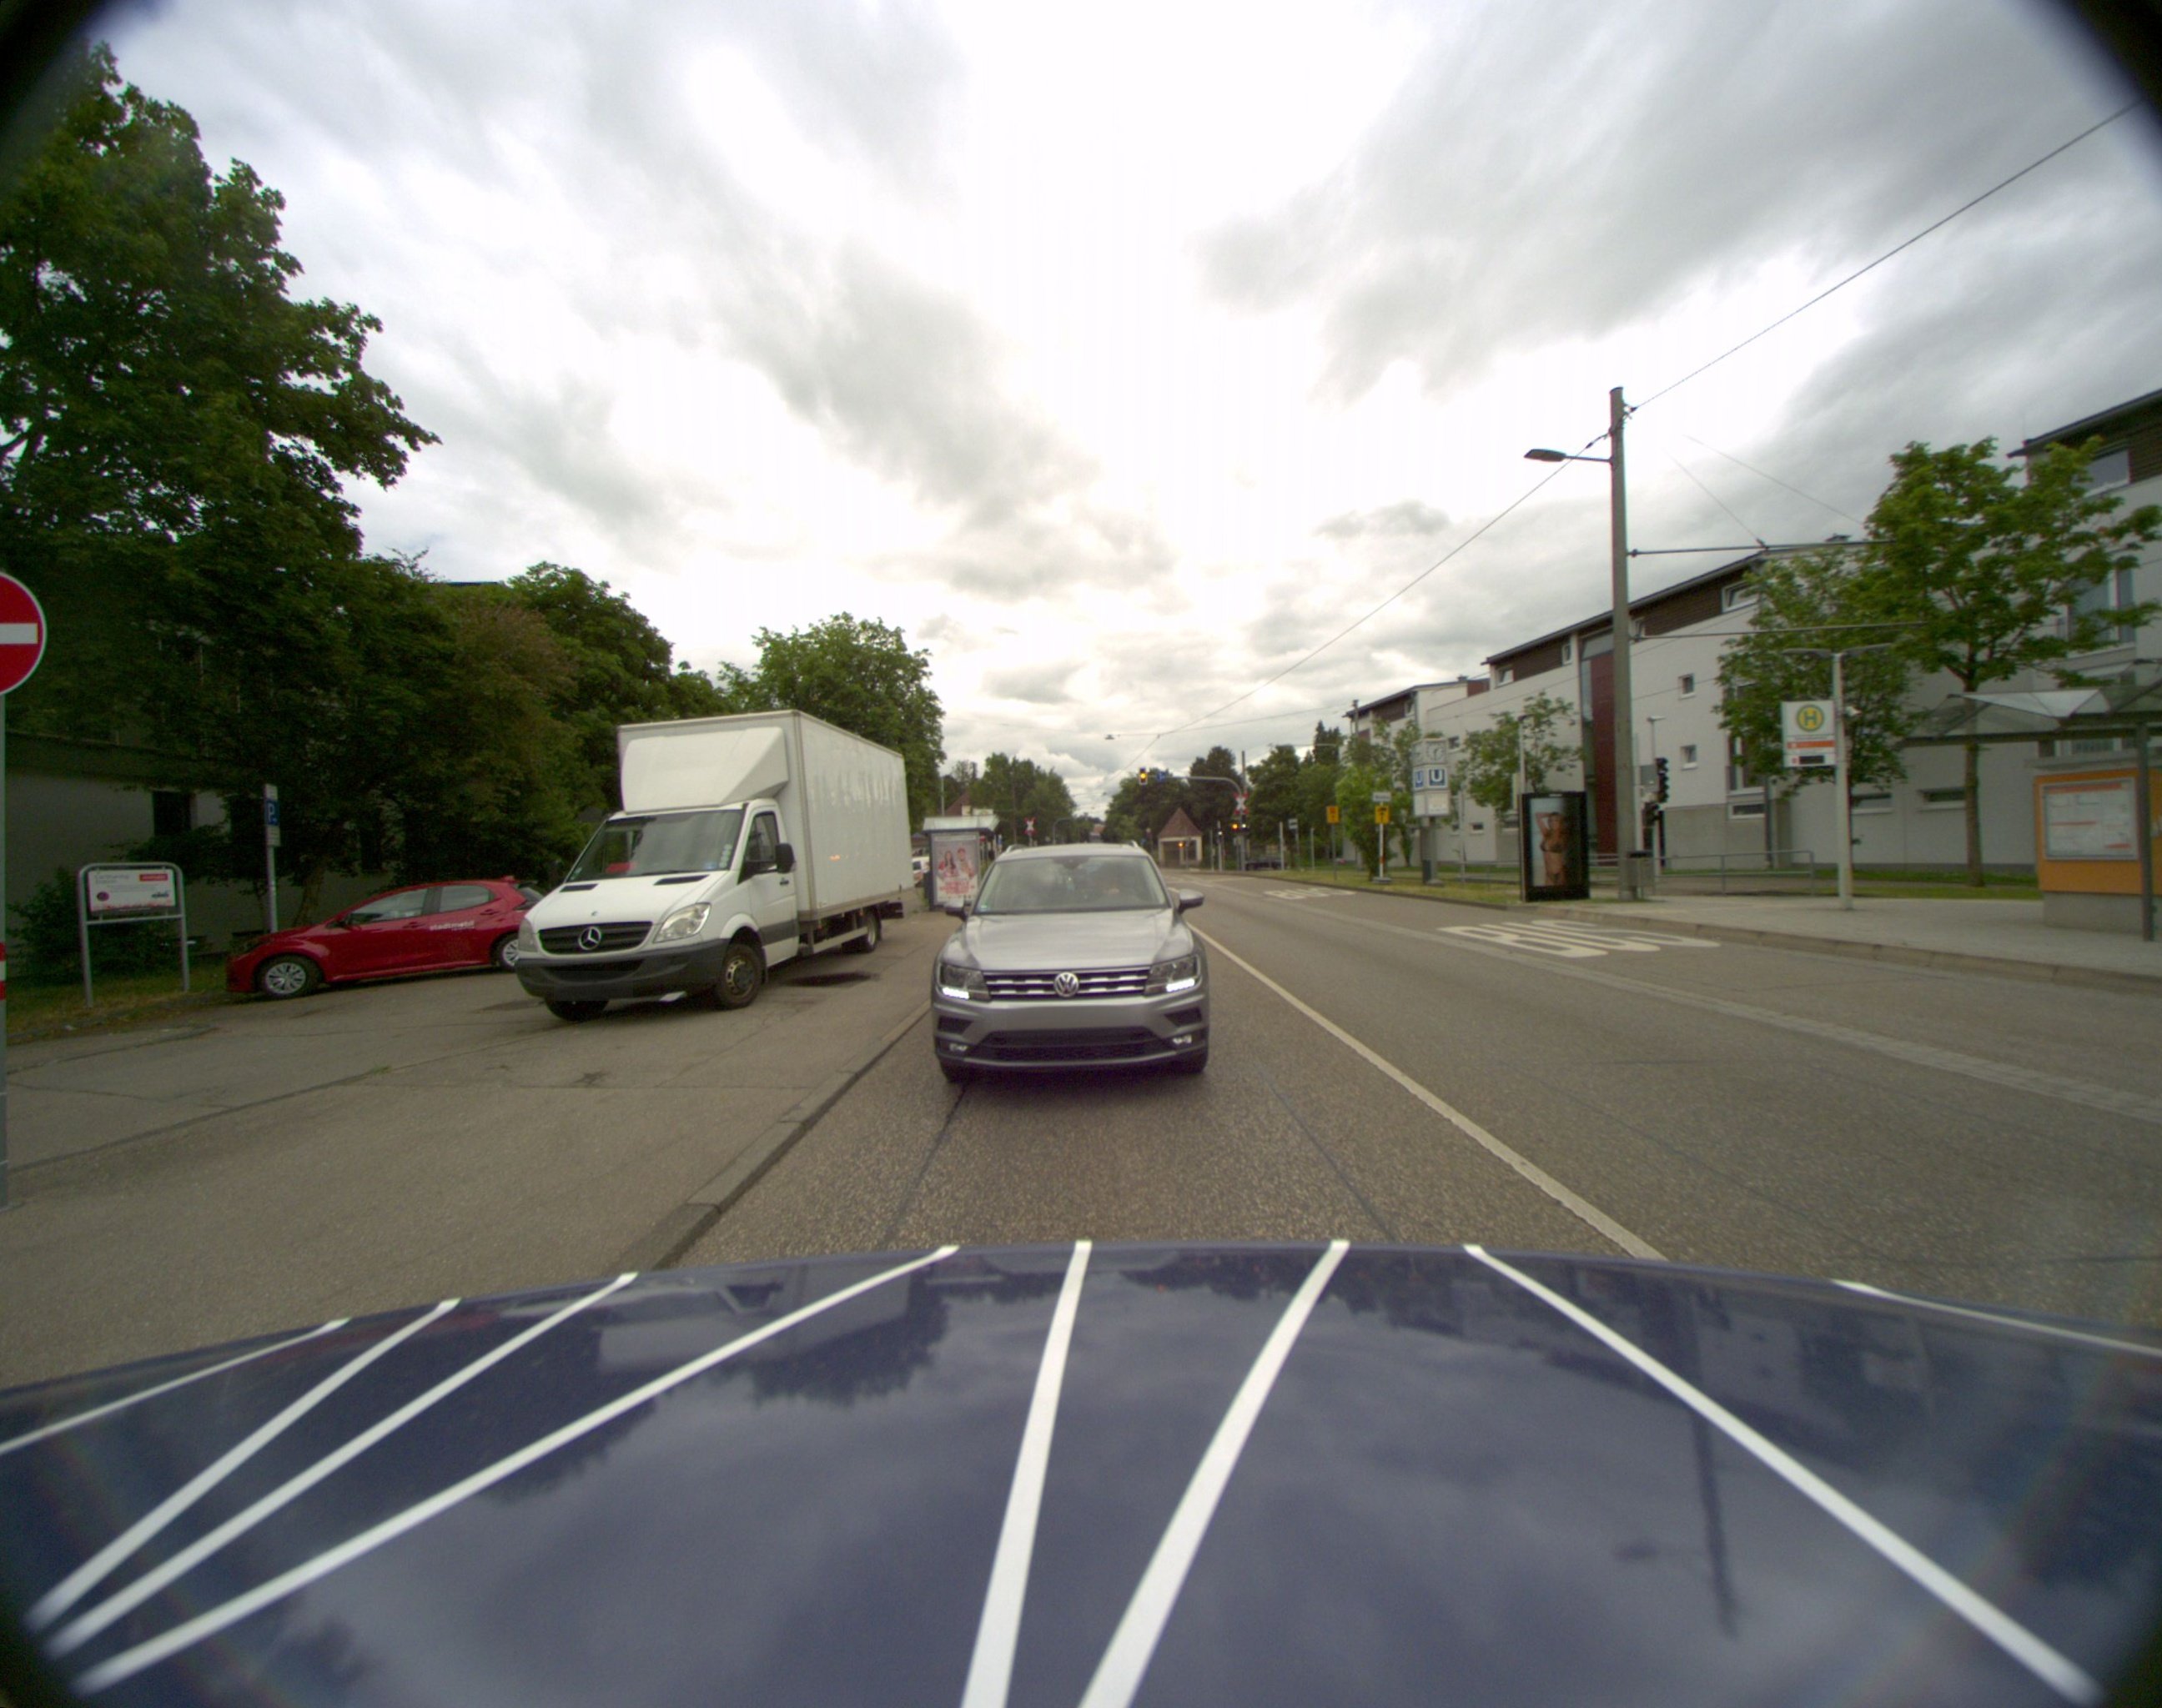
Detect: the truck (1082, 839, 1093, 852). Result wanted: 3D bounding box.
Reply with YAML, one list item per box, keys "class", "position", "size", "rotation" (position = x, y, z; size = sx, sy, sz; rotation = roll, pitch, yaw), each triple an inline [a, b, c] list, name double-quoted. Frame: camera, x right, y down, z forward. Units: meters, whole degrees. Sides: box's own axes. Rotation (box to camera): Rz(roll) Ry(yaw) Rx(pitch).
- class: "truck"
  position: [2.107, -2.801, 252.299]
  size: [3.288, 4.076, 8.580]
  rotation: [-2, 1, 1]

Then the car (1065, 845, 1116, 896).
- class: "car"
  position: [0.393, 0.602, 30.598]
  size: [1.849, 1.850, 4.000]
  rotation: [-2, 0, 1]

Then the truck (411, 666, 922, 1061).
- class: "truck"
  position: [-4.483, 0.040, 10.627]
  size: [2.541, 3.407, 7.775]
  rotation: [-2, 1, 2]

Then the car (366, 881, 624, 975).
- class: "car"
  position: [-11.922, 1.436, 15.834]
  size: [4.005, 1.402, 1.521]
  rotation: [-5, 2, -31]

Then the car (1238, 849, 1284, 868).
- class: "car"
  position: [17.488, 0.430, 73.902]
  size: [3.998, 1.696, 1.928]
  rotation: [-2, 1, -3]

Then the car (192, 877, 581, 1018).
- class: "car"
  position: [-10.081, 1.267, 11.477]
  size: [3.902, 1.475, 1.680]
  rotation: [-5, 2, -24]

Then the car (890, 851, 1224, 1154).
- class: "car"
  position: [-0.107, 0.829, 6.434]
  size: [1.811, 1.638, 4.330]
  rotation: [-2, 0, 1]
